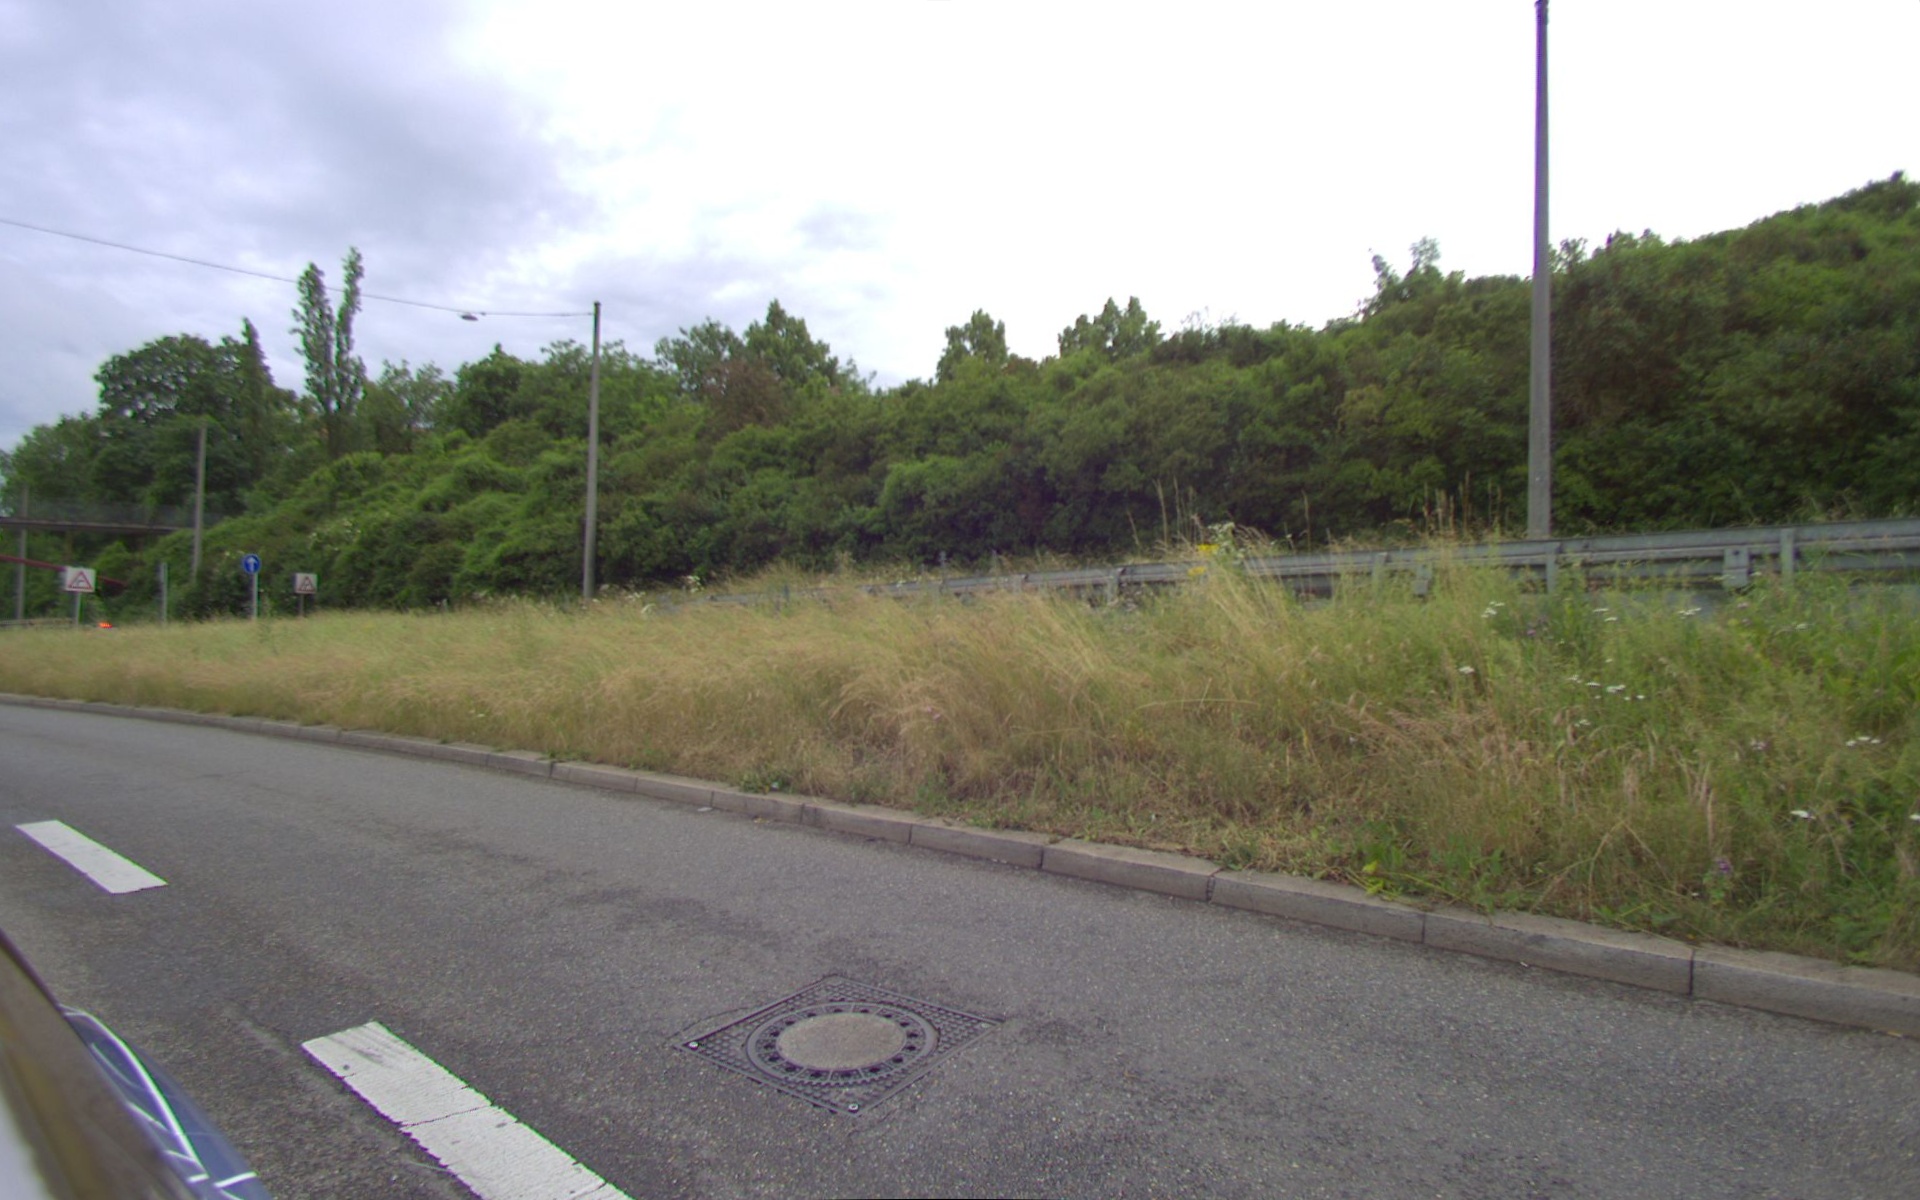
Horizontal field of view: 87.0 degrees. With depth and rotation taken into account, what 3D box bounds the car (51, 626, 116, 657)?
[{"bbox_3d":[-46.342,2.171,53.484,4.282,1.464,1.974,0,0,40],"label":"car"}]
